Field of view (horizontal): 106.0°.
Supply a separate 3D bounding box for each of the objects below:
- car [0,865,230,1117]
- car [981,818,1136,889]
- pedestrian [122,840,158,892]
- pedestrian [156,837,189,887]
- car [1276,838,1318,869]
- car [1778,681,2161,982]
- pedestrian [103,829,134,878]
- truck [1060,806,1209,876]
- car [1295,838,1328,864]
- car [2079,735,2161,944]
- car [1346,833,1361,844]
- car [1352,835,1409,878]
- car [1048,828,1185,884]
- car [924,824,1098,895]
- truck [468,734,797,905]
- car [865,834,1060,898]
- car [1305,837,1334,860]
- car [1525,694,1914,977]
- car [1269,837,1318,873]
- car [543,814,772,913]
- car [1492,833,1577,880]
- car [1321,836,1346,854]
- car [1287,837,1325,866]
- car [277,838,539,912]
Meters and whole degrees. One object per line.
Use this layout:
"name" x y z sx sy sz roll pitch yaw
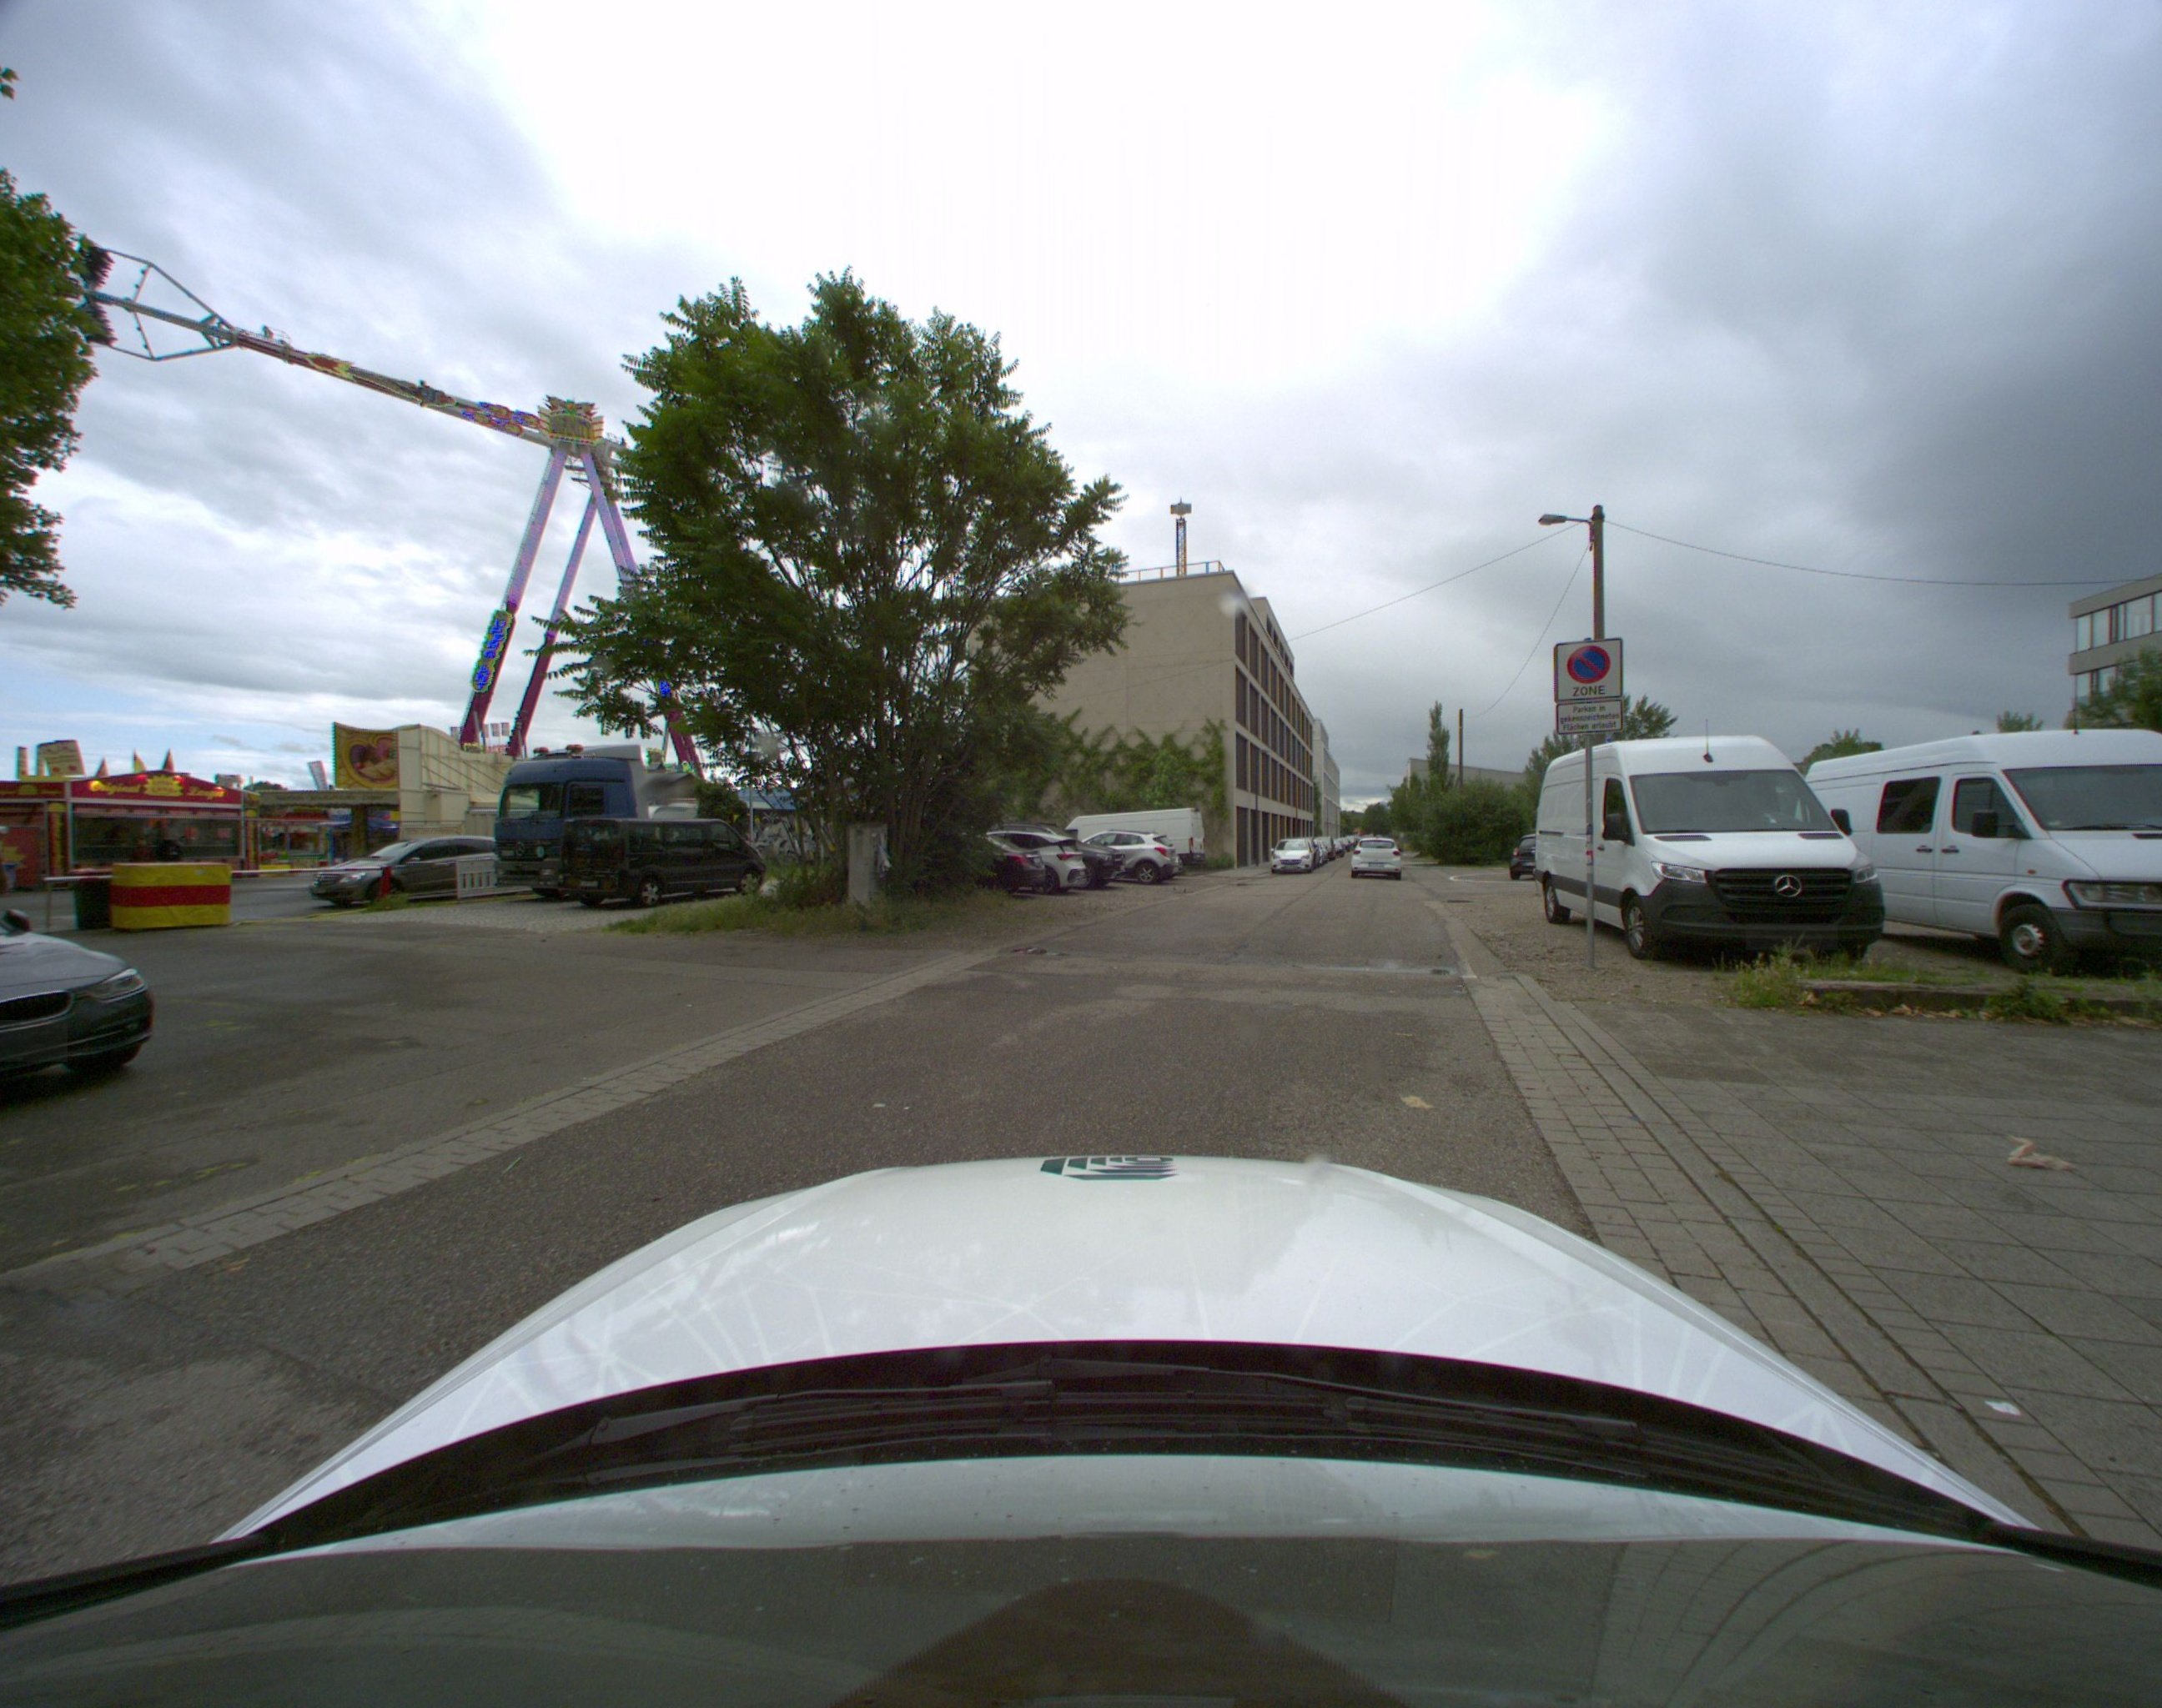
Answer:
"car" -8.211 0.851 5.378 3.957 1.430 1.877 -1 1 16
"car" -0.621 -0.031 23.152 3.955 1.879 1.901 0 2 18
"pedestrian" -31.116 0.375 26.932 0.490 1.686 0.524 -1 1 4
"pedestrian" -30.979 0.261 27.778 0.490 1.686 0.524 -1 1 4
"car" 10.989 -0.052 41.220 1.870 1.453 4.019 -1 1 17
"car" 10.678 -0.177 9.410 2.016 2.535 5.833 -1 -1 20
"pedestrian" -33.283 -0.020 28.163 0.518 1.686 0.496 -1 1 17
"truck" 2.192 -0.596 33.783 5.786 2.727 2.066 1 2 23
"car" 14.499 -0.212 51.078 1.870 1.453 4.019 -1 1 17
"car" 13.443 -0.184 7.960 2.145 2.522 5.835 0 0 22
"car" 38.394 -2.141 114.792 1.870 1.453 4.019 -1 1 17
"car" 11.220 0.059 30.639 1.870 1.453 4.020 -1 1 19
"car" 1.155 0.021 26.021 3.955 1.644 1.900 1 1 18
"car" -1.755 0.096 20.806 3.955 1.644 1.900 1 1 18
"truck" -11.700 -0.874 22.545 2.570 3.822 8.259 -1 1 19
"car" -2.667 0.284 18.569 3.955 1.349 1.900 -1 -1 18
"car" 16.722 -0.404 56.960 1.870 1.453 4.019 -1 1 17
"car" 7.514 -0.239 10.552 2.076 2.555 6.073 -1 1 19
"car" 9.408 0.014 35.834 1.870 1.453 4.019 -1 1 17
"car" -9.641 0.085 19.057 1.977 2.013 4.612 0 3 19
"car" 15.613 0.037 28.234 1.870 1.453 4.020 -1 1 19
"car" 21.032 -0.758 67.804 1.870 1.453 4.019 -1 1 17
"car" 12.661 -0.174 45.729 1.870 1.453 4.019 -1 1 17
"car" -16.421 0.423 20.244 1.977 1.575 4.611 -1 1 19
